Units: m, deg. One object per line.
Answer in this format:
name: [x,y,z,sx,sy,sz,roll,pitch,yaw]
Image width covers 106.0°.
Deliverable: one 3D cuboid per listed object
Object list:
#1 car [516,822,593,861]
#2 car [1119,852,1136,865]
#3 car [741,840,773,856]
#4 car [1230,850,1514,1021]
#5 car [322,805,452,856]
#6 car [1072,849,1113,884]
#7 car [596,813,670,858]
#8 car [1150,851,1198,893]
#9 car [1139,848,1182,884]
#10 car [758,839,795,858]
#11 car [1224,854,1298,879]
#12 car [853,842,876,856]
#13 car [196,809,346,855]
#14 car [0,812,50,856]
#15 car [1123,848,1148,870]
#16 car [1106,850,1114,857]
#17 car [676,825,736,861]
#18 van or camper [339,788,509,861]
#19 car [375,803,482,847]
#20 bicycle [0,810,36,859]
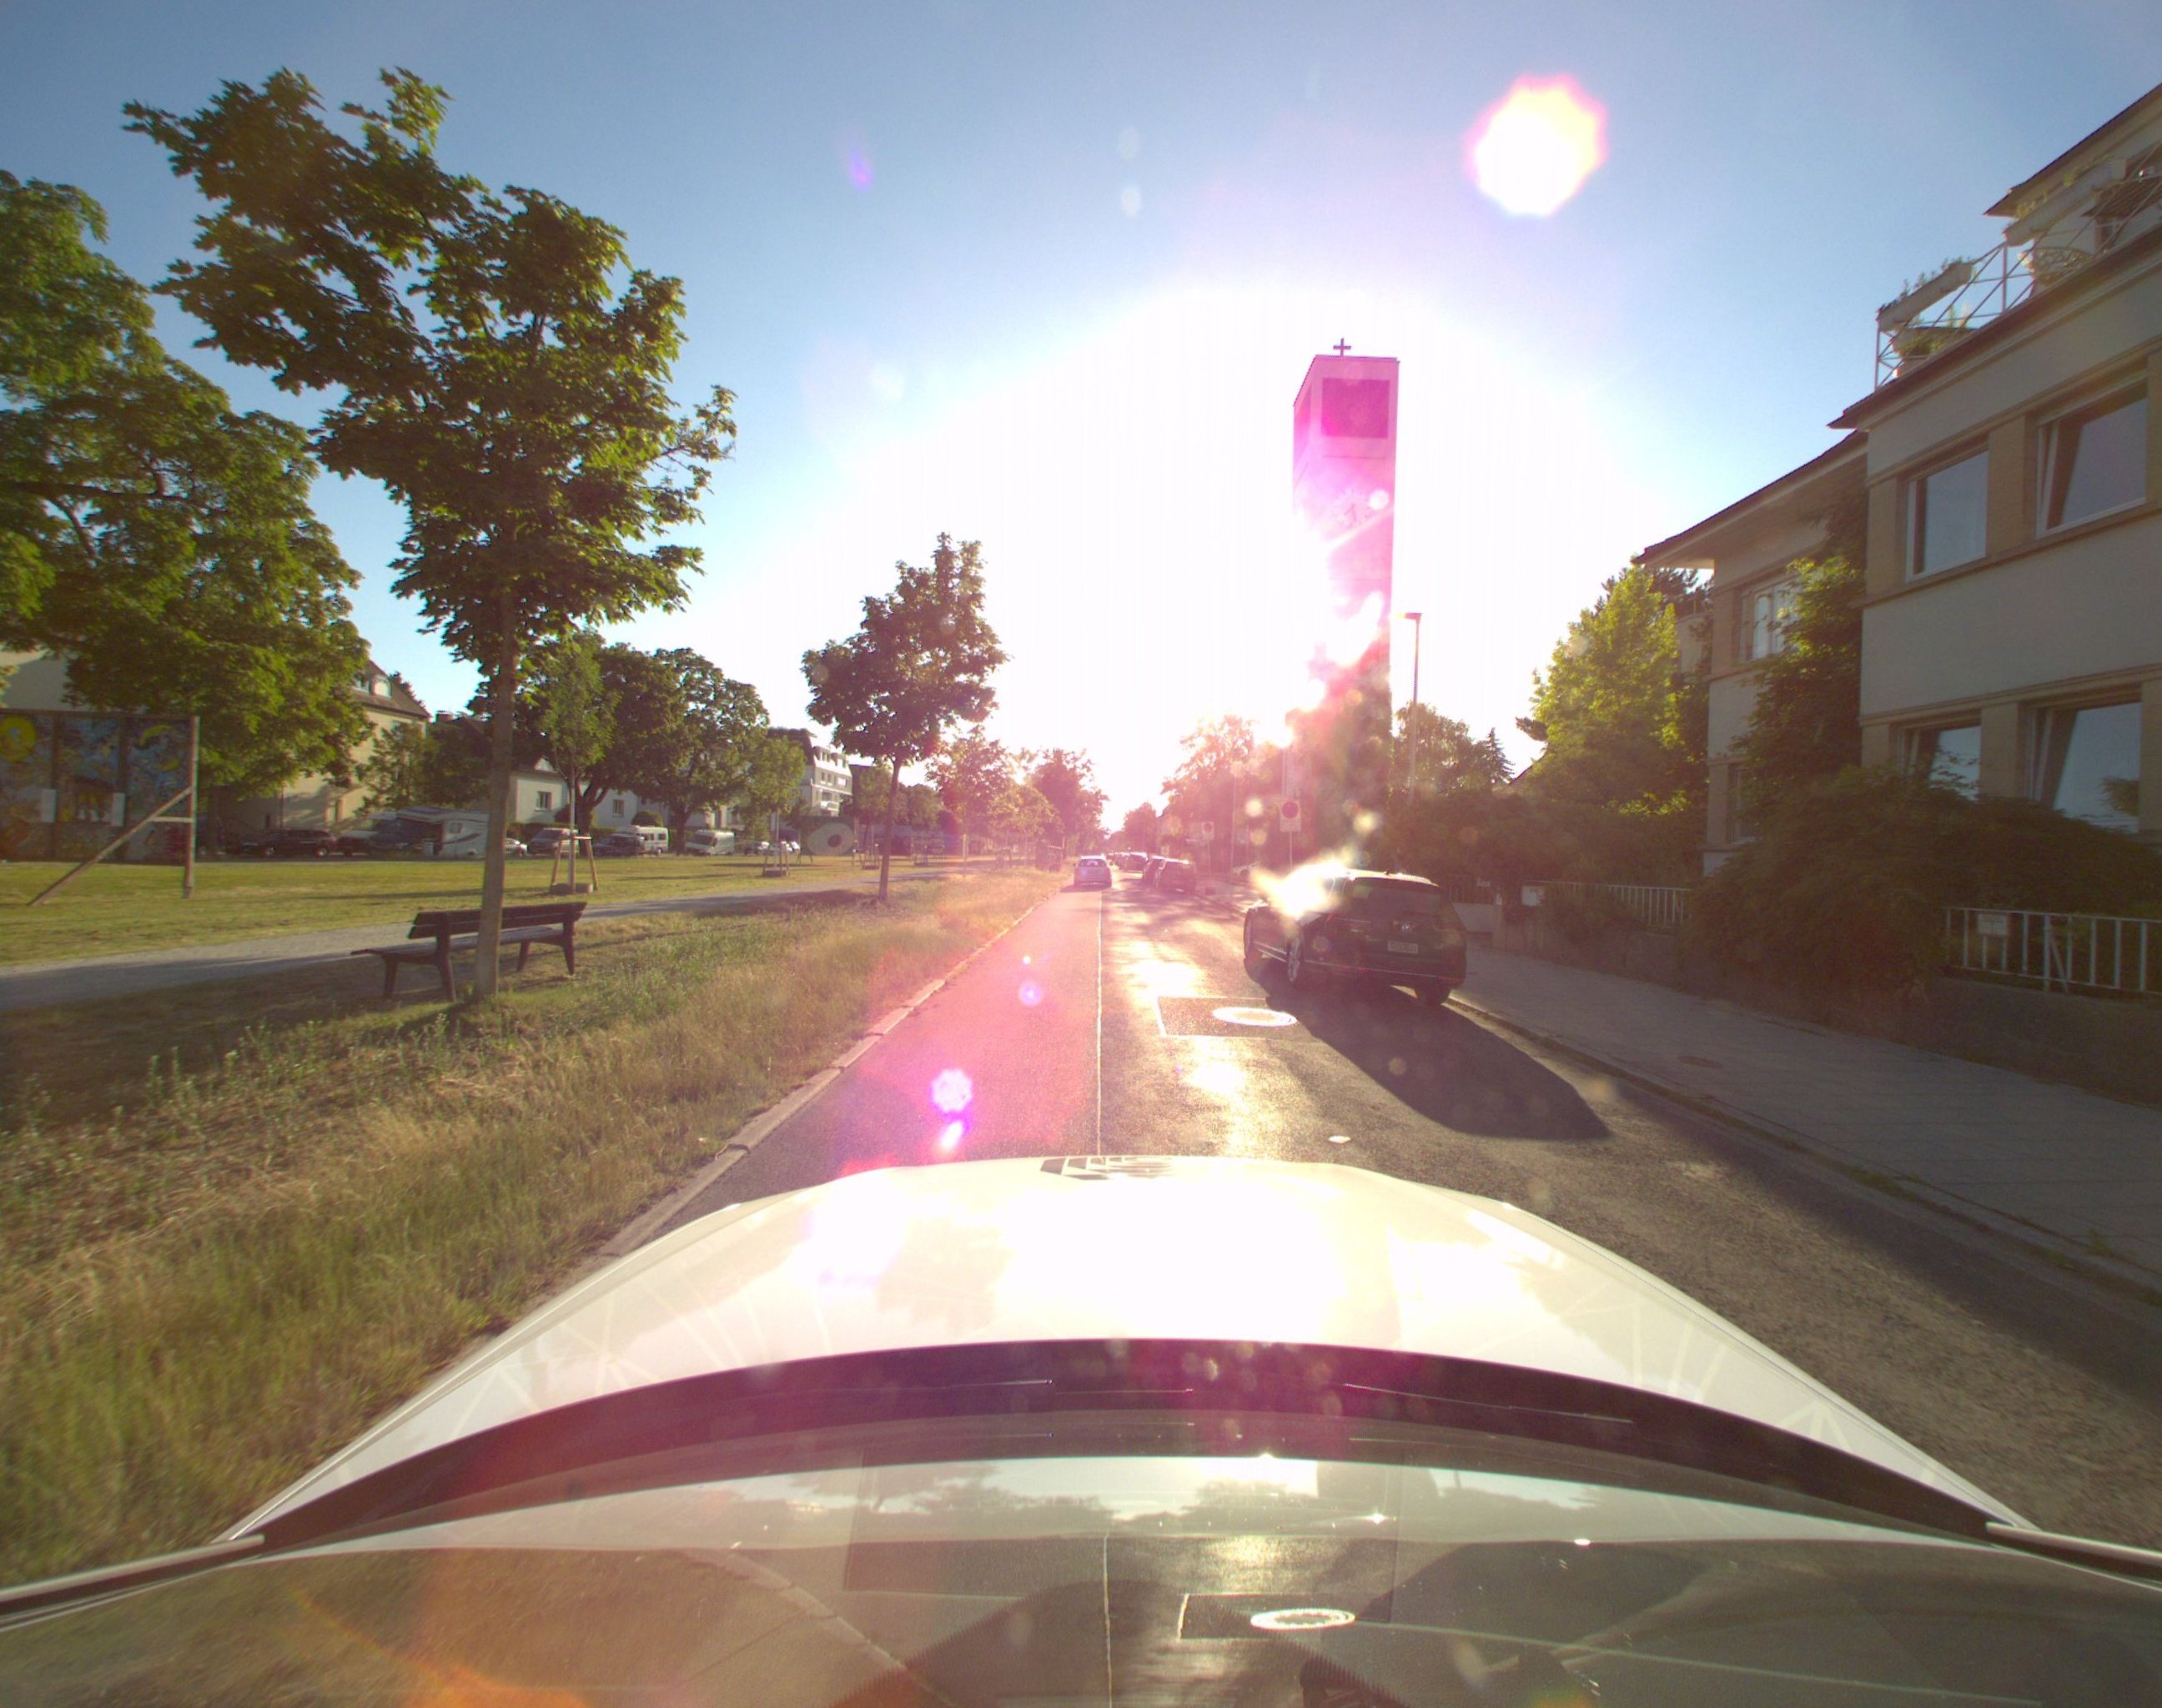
car: [-38.117,-0.856,59.159,2.129,2.604,5.324,-2,-1,0]
car: [5.700,0.533,99.485,1.985,1.462,4.565,3,0,3]
car: [-37.309,-0.645,93.876,1.775,1.703,4.668,-2,-1,1]
car: [3.498,0.877,10.965,1.987,1.597,4.886,6,-1,0]
car: [-38.942,-1.232,45.964,1.986,2.598,6.091,-2,-1,1]
car: [0.580,0.563,38.801,1.817,1.566,4.002,1,1,2]
car: [-37.727,-1.473,68.846,2.295,3.559,6.767,-2,-1,2]
car: [4.091,0.742,36.339,1.681,1.527,4.177,6,1,2]
car: [4.157,0.583,43.328,1.816,1.561,4.624,8,1,2]
car: [-31.843,-0.530,85.287,1.826,1.899,4.645,-2,-1,2]
car: [12.691,0.907,57.622,4.830,1.486,2.002,2,-3,0]
car: [-30.820,-0.733,116.020,1.921,1.828,4.693,-2,-1,2]
car: [-38.823,-1.002,39.258,1.962,2.004,5.052,2,0,2]
car: [-39.066,-0.729,28.125,1.987,1.542,3.809,2,0,0]
car: [4.787,0.424,71.697,1.826,1.732,5.032,4,0,1]
car: [8.135,-0.073,228.229,1.981,2.023,4.002,2,0,2]
car: [-31.957,-0.868,69.653,2.252,2.826,5.873,-2,-1,2]
van or camper: [-32.625,-1.399,40.895,2.632,3.262,6.908,2,0,2]
car: [-32.625,-1.399,40.895,1.986,2.013,4.002,2,0,2]
bicycle: [-30.129,-0.552,22.036,0.508,1.342,2.333,2,0,5]
